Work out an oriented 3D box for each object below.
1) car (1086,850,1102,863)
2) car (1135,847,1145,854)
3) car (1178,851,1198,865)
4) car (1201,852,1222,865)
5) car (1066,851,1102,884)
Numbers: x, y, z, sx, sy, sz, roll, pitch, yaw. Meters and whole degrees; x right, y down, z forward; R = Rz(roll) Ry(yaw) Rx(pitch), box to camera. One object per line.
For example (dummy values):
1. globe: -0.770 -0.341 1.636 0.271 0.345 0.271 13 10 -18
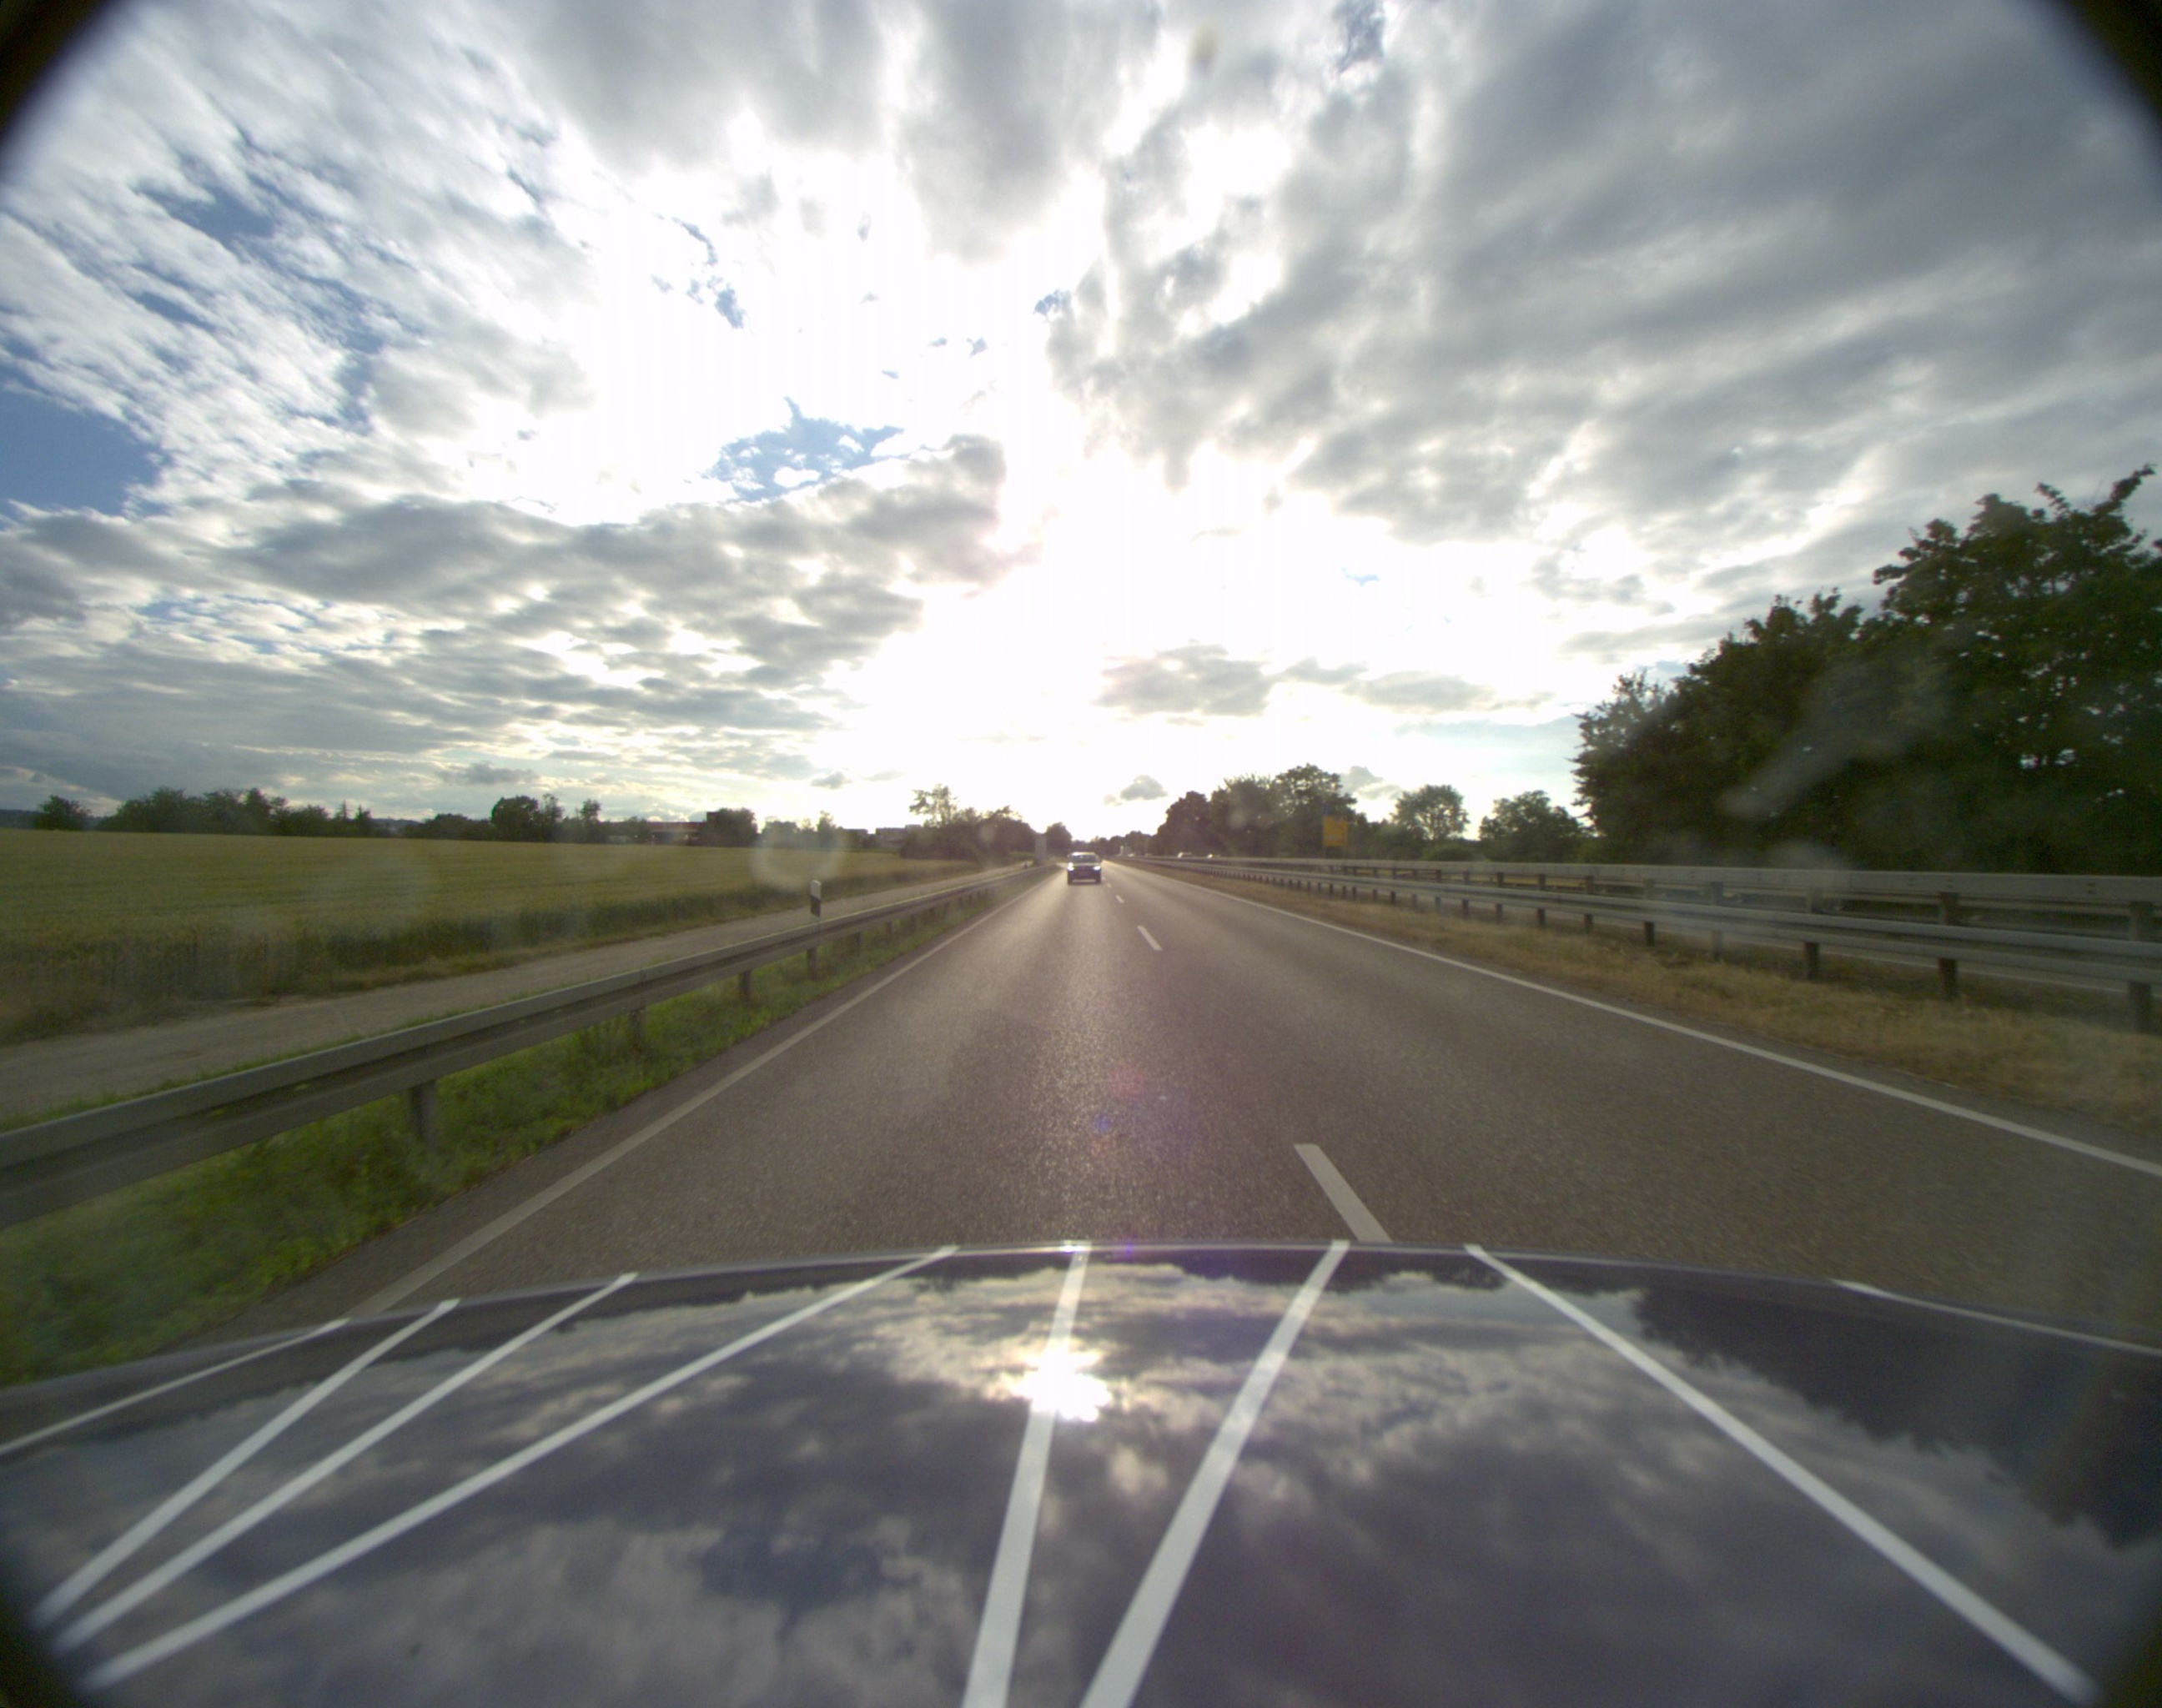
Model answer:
1. car: 1.471 0.315 88.112 1.775 1.389 3.999 -2 1 0
2. car: 13.776 -0.838 178.420 1.937 1.626 4.375 -1 1 0
3. car: 12.758 0.428 90.679 1.803 1.605 4.375 1 1 0
4. car: 16.511 0.583 96.365 1.911 1.470 4.461 -2 1 0
5. car: 0.190 0.689 42.177 1.863 1.636 4.000 -2 1 1
